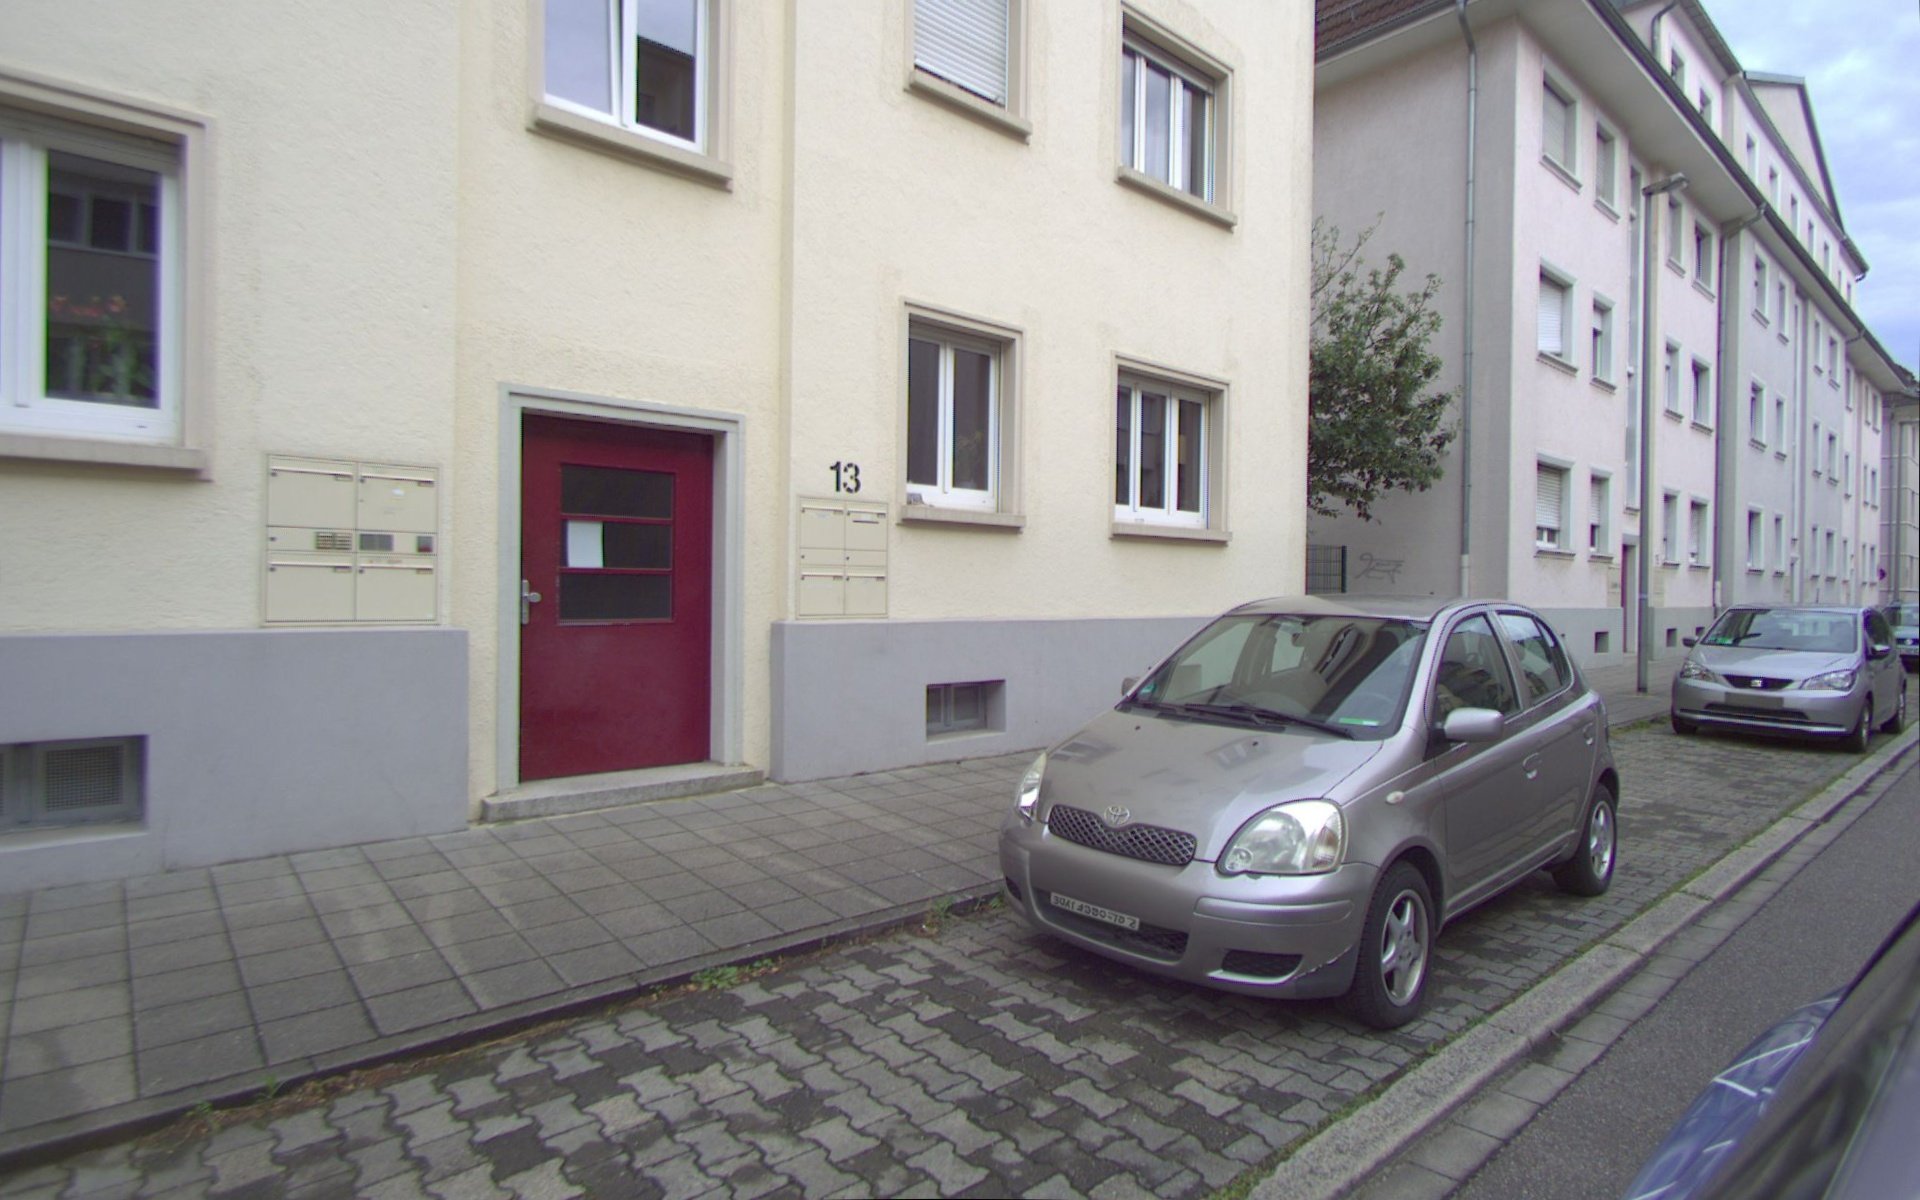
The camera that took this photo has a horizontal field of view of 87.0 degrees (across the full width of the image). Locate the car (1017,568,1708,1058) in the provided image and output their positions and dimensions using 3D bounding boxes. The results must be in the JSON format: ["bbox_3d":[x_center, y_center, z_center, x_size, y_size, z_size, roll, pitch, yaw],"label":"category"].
[{"bbox_3d":[2.299,0.646,5.174,3.992,1.536,1.727,0,1,-43],"label":"car"}]

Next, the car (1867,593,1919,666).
[{"bbox_3d":[21.110,0.603,21.921,4.190,1.487,1.728,0,1,-42],"label":"car"}]

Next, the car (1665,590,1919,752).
[{"bbox_3d":[9.570,0.652,11.464,3.990,1.511,1.728,0,1,-42],"label":"car"}]

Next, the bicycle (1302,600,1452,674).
[{"bbox_3d":[6.764,0.563,16.513,0.637,1.090,2.211,0,1,-41],"label":"bicycle"}]
